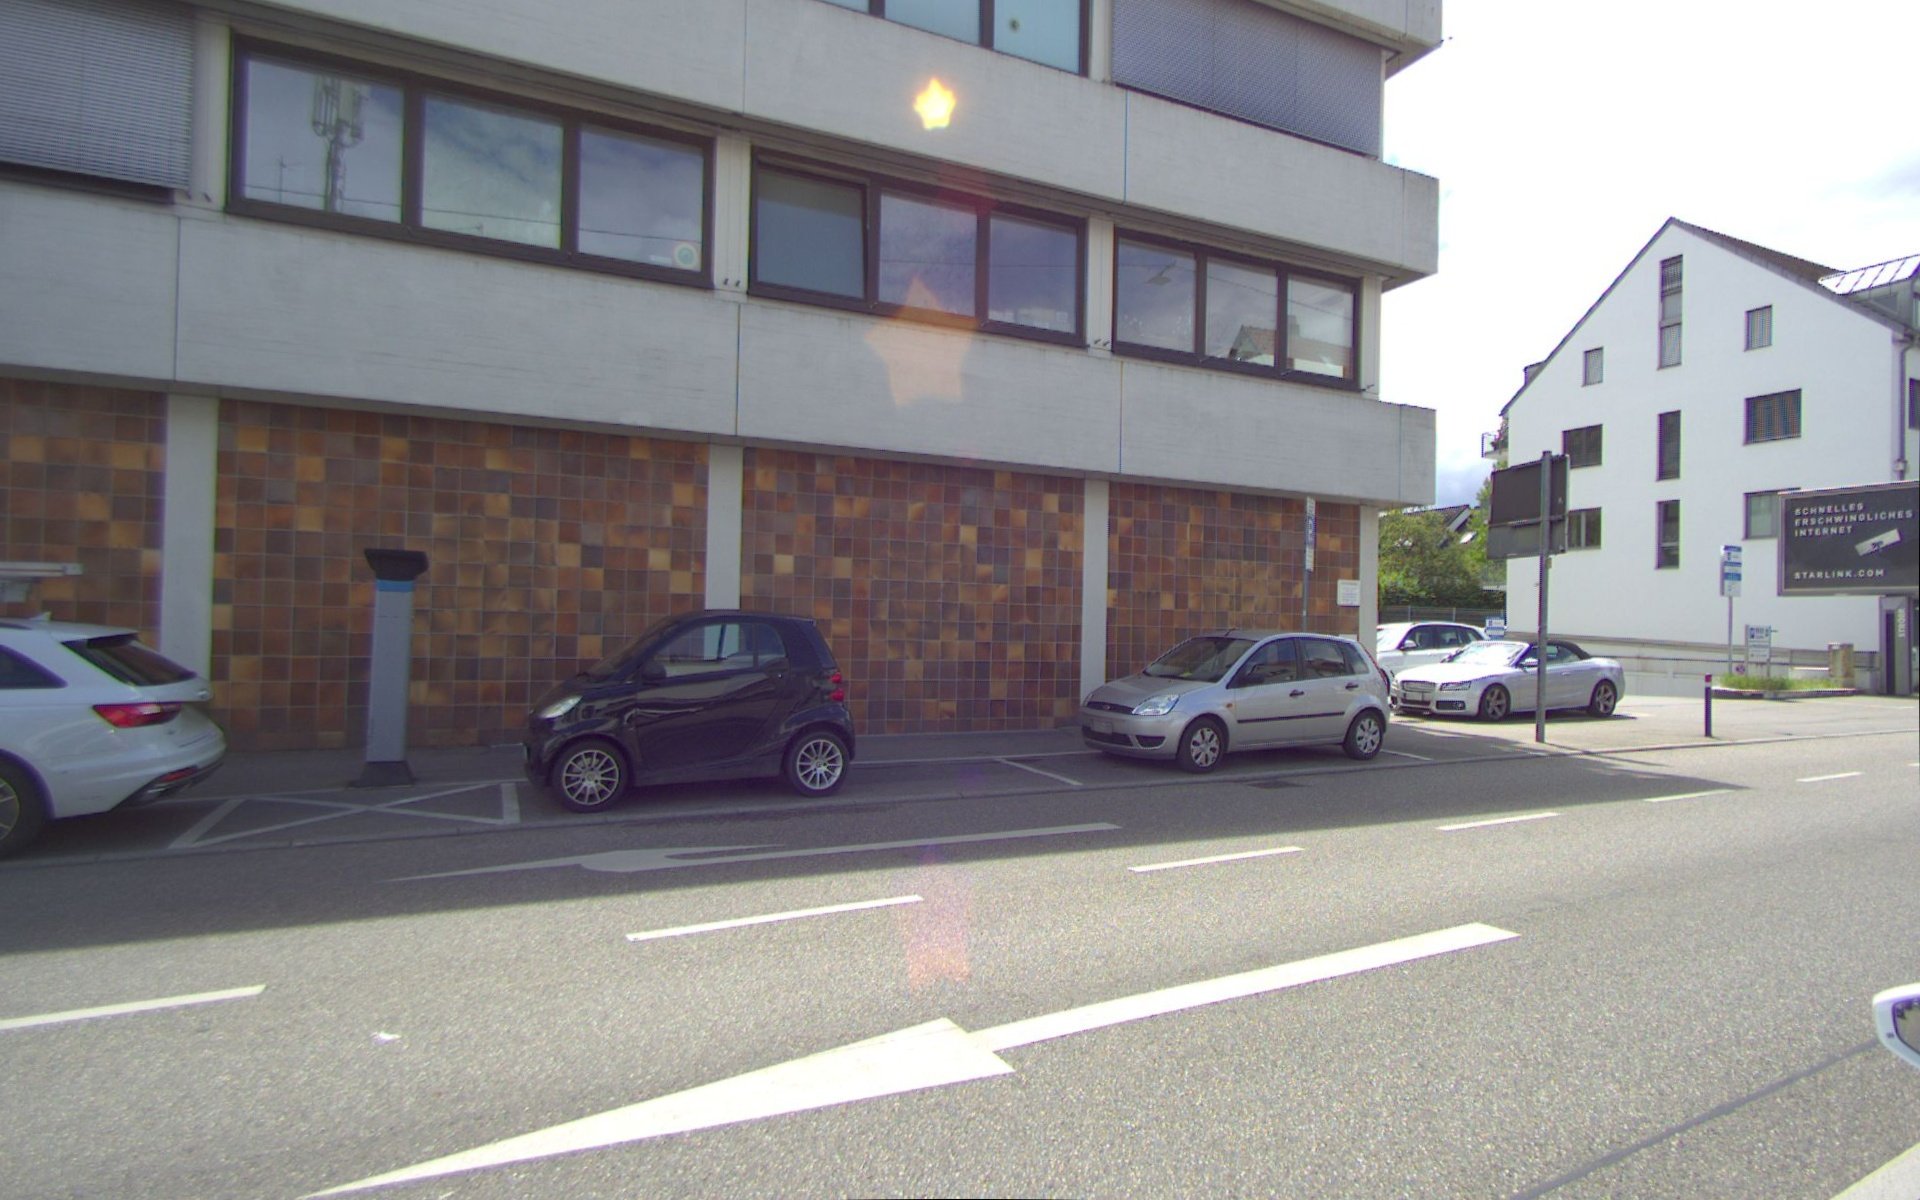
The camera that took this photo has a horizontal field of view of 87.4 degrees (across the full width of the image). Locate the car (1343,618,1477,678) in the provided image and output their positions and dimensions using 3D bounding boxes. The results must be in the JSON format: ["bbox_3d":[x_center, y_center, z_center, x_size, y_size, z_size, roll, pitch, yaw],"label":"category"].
[{"bbox_3d":[15.905,1.677,35.463,4.586,2.016,1.832,1,-1,-26],"label":"car"}]

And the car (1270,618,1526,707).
[{"bbox_3d":[8.911,1.240,20.427,4.858,1.640,1.948,1,-4,-23],"label":"car"}]

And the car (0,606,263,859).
[{"bbox_3d":[-7.464,0.761,6.195,4.886,1.463,2.038,1,0,-26],"label":"car"}]

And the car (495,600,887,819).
[{"bbox_3d":[-2.363,0.828,8.726,3.016,1.576,1.731,1,0,-26],"label":"car"}]

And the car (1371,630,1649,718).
[{"bbox_3d":[9.871,1.265,17.974,4.790,1.376,1.945,1,-1,-25],"label":"car"}]

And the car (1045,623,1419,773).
[{"bbox_3d":[3.178,1.033,11.637,4.094,1.441,1.716,1,0,-27],"label":"car"}]
